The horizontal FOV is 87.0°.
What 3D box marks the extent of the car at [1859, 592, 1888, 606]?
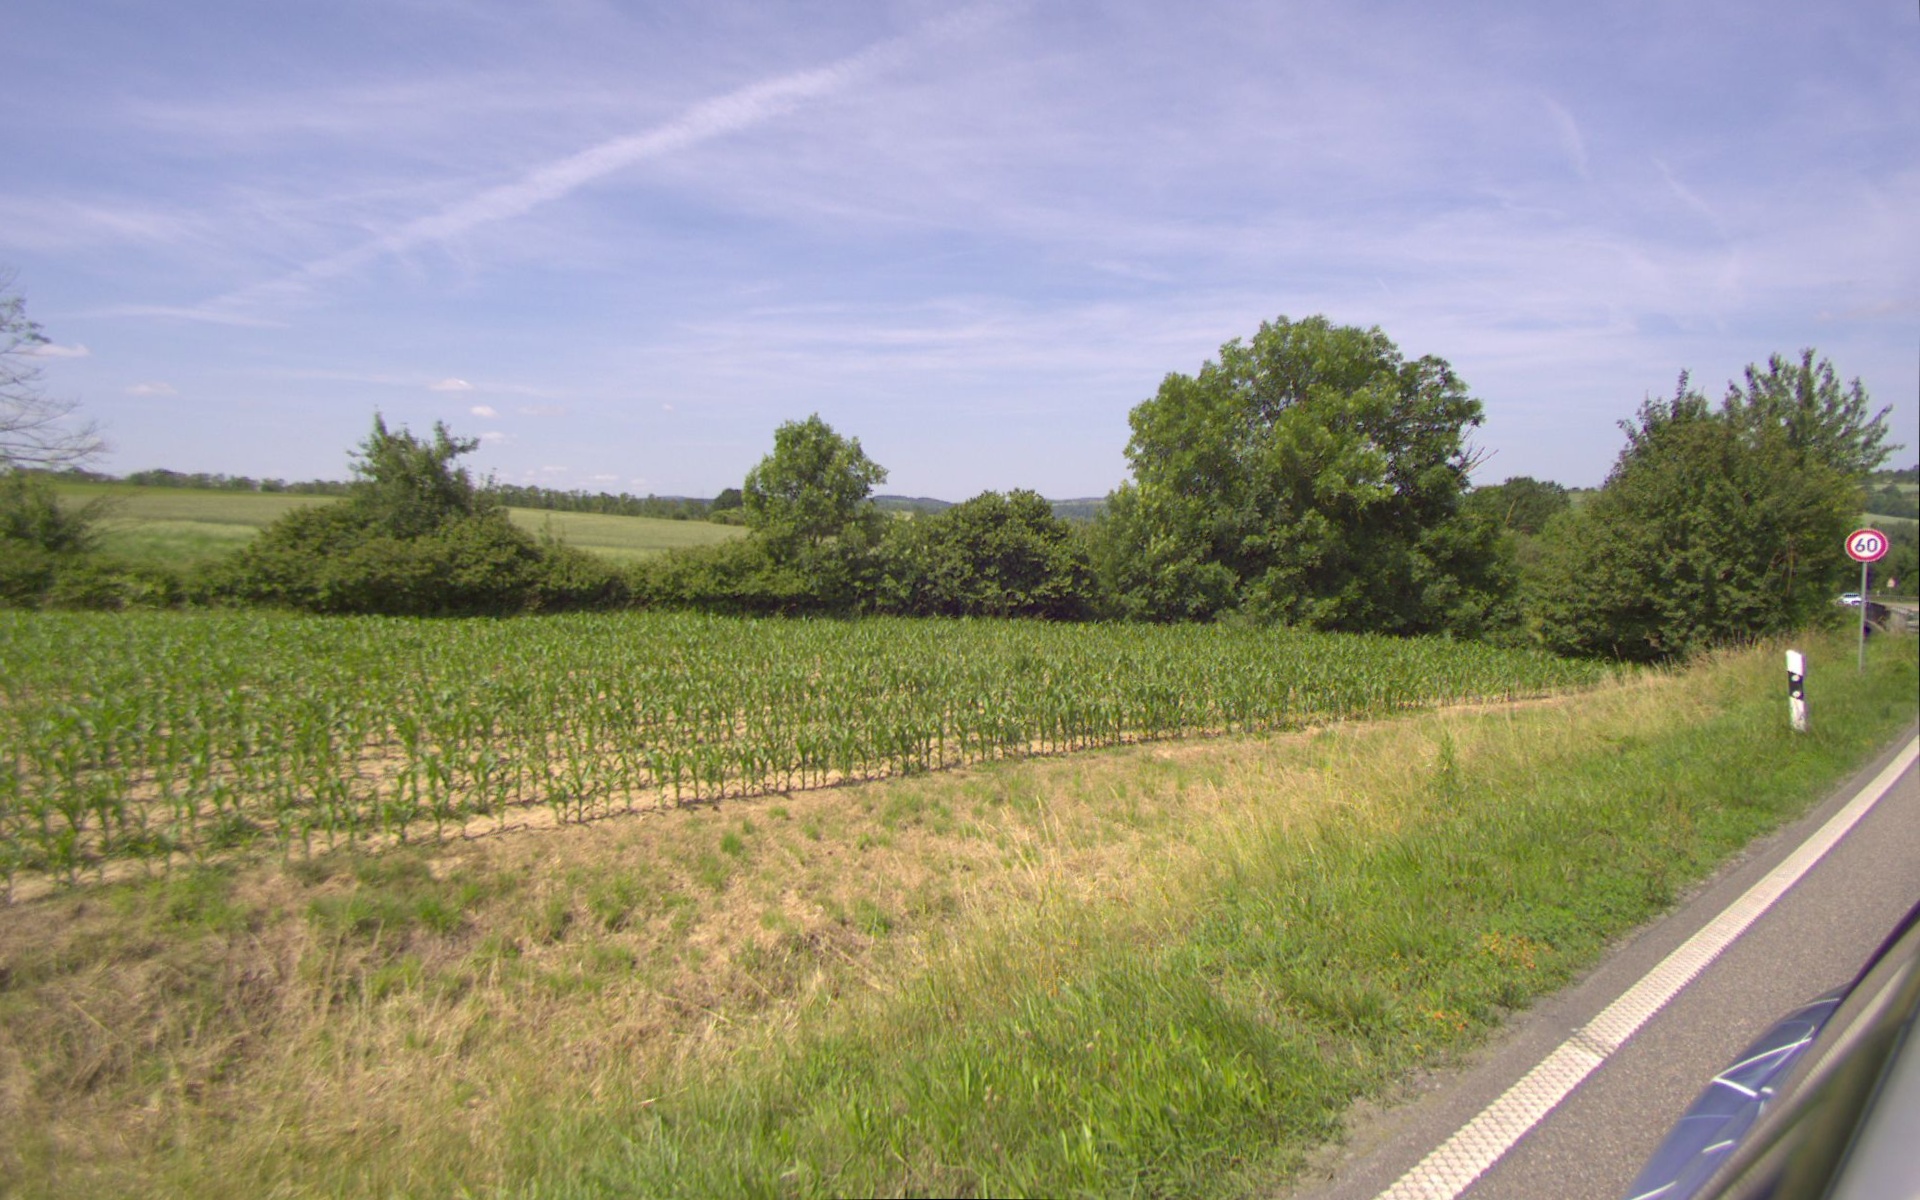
[{"bbox_3d":[92.820,-0.107,102.861,1.698,1.393,4.544,2,1,35],"label":"car"}]
